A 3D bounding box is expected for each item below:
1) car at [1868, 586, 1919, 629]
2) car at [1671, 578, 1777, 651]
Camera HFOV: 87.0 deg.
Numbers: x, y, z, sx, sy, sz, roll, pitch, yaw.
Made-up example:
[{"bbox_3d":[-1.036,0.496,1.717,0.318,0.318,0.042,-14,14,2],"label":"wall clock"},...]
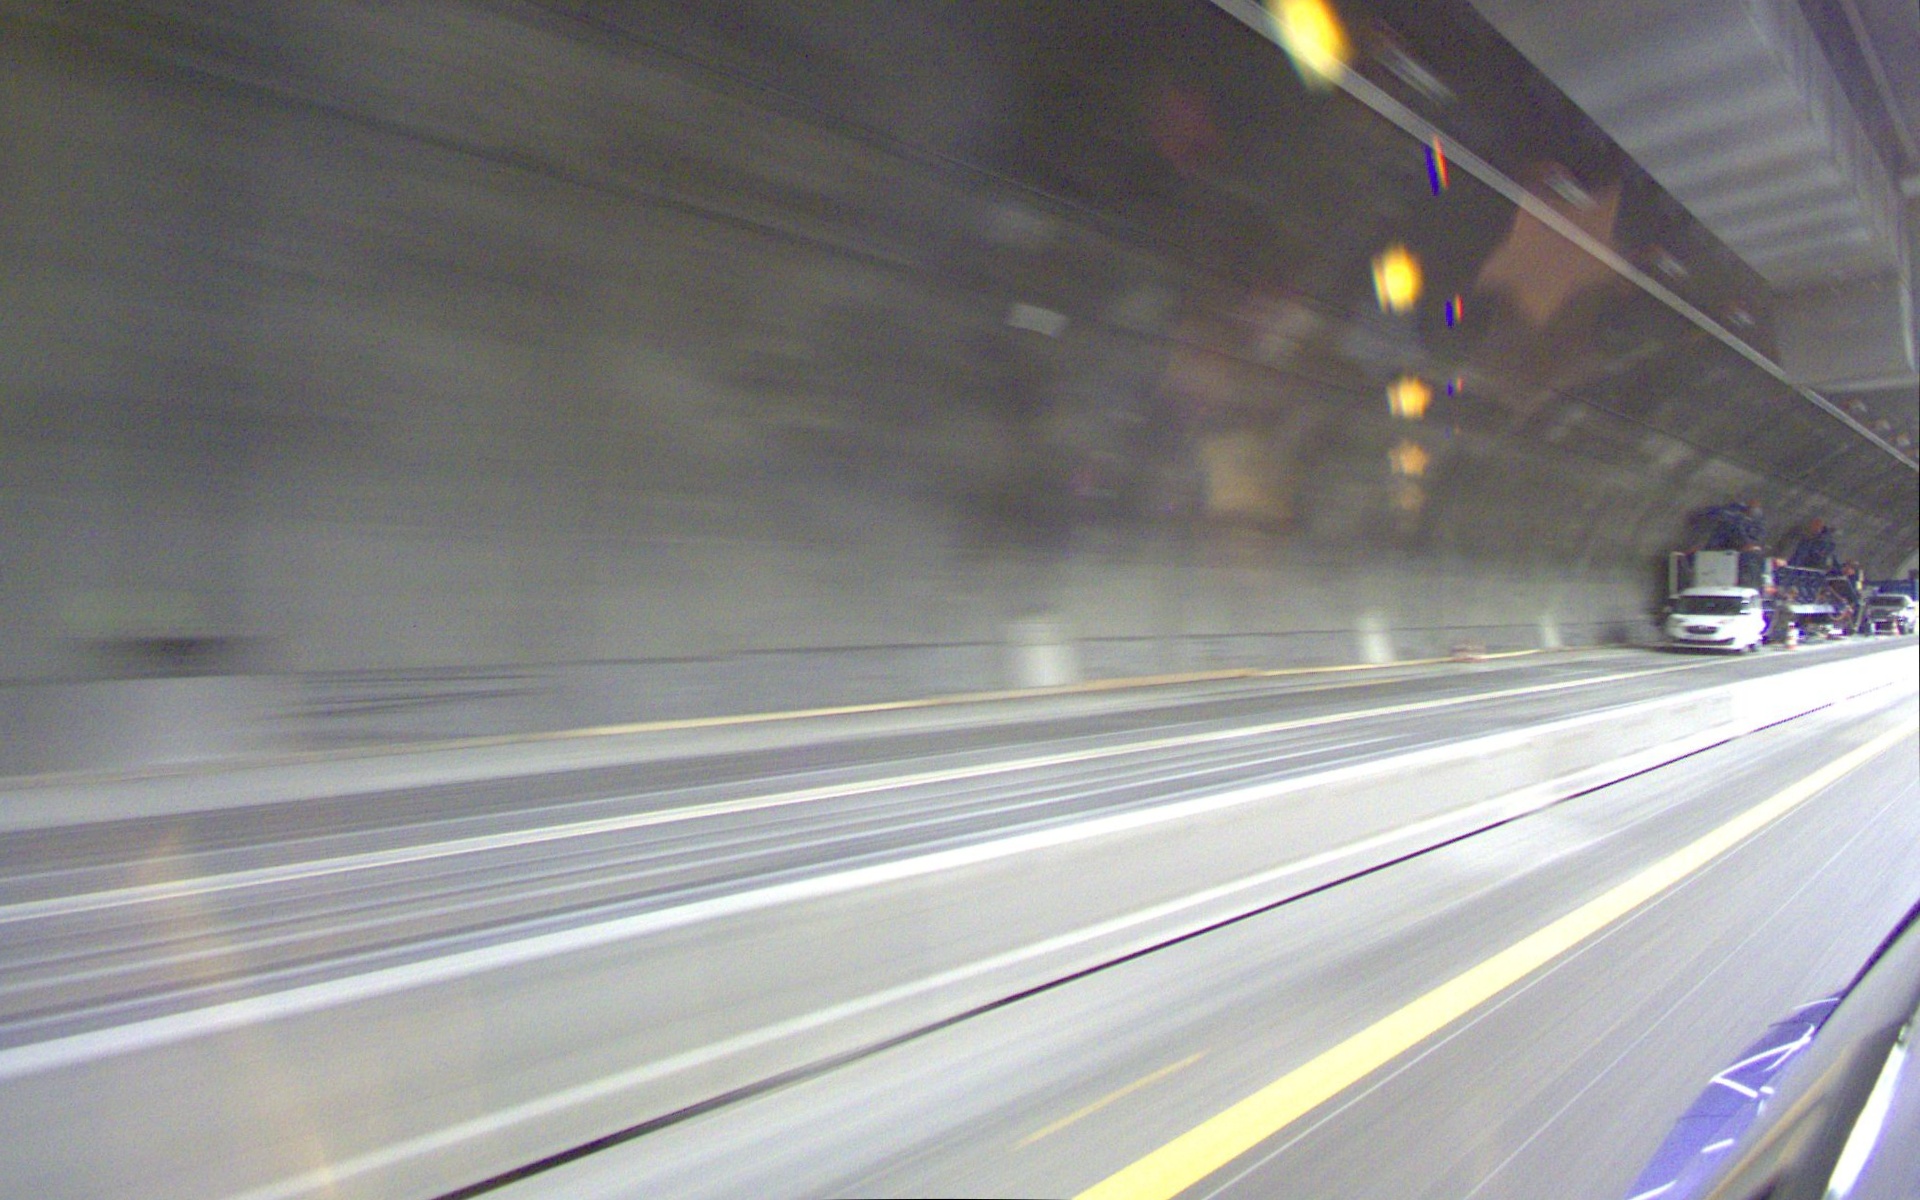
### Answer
[{"bbox_3d":[44.039,0.339,47.258,5.348,1.882,1.830,0,-1,-42],"label":"car"},{"bbox_3d":[21.422,0.352,28.303,4.570,1.868,1.752,0,0,-45],"label":"car"}]
